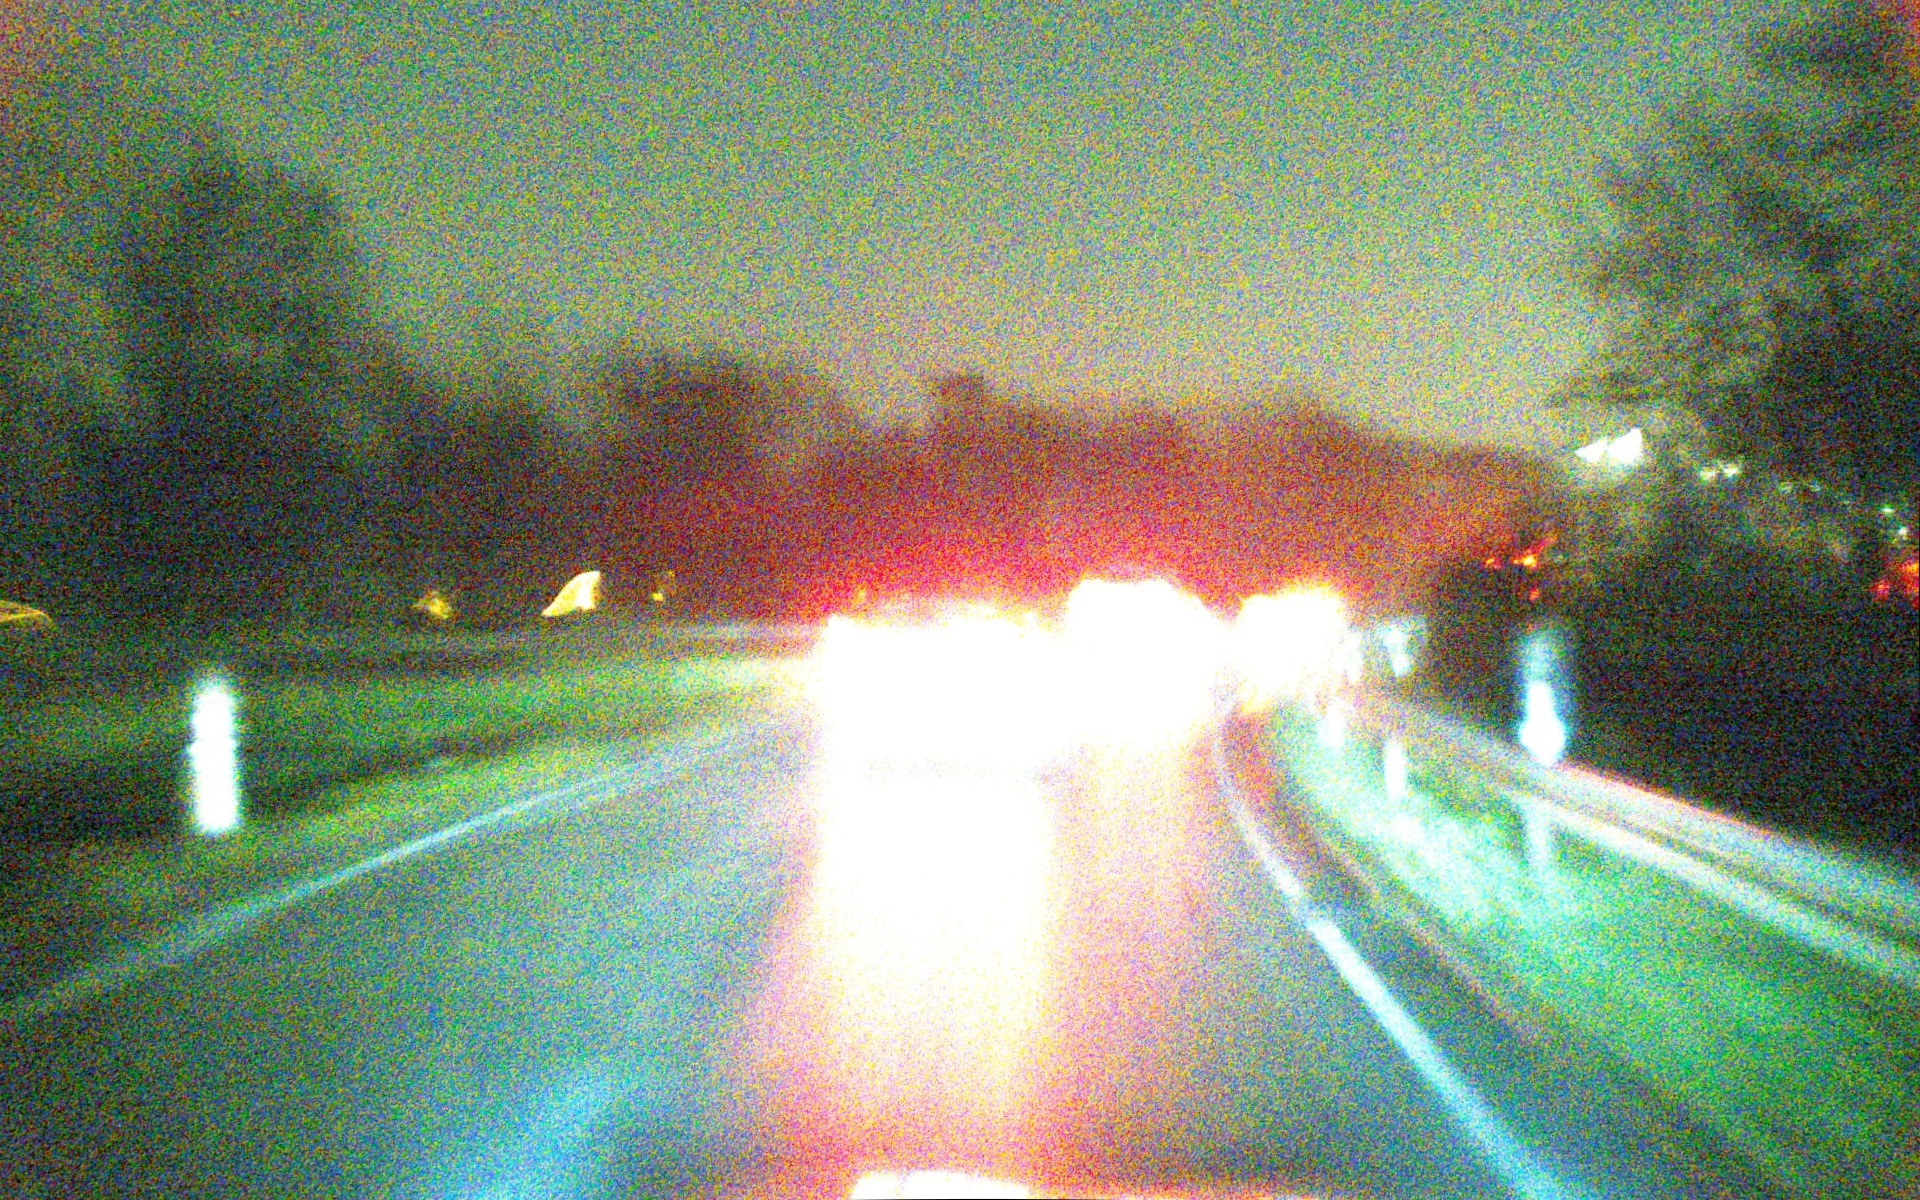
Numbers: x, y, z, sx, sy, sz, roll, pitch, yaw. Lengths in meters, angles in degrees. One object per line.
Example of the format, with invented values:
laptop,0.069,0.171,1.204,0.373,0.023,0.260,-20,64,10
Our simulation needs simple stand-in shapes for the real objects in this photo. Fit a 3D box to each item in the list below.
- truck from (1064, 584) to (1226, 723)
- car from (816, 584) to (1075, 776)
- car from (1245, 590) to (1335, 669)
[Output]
truck,3.776,1.011,34.510,3.005,2.573,7.171,0,0,5
car,0.005,0.657,15.141,1.903,1.517,3.718,-1,0,6
car,8.814,0.751,43.989,1.798,1.982,4.001,0,0,19
